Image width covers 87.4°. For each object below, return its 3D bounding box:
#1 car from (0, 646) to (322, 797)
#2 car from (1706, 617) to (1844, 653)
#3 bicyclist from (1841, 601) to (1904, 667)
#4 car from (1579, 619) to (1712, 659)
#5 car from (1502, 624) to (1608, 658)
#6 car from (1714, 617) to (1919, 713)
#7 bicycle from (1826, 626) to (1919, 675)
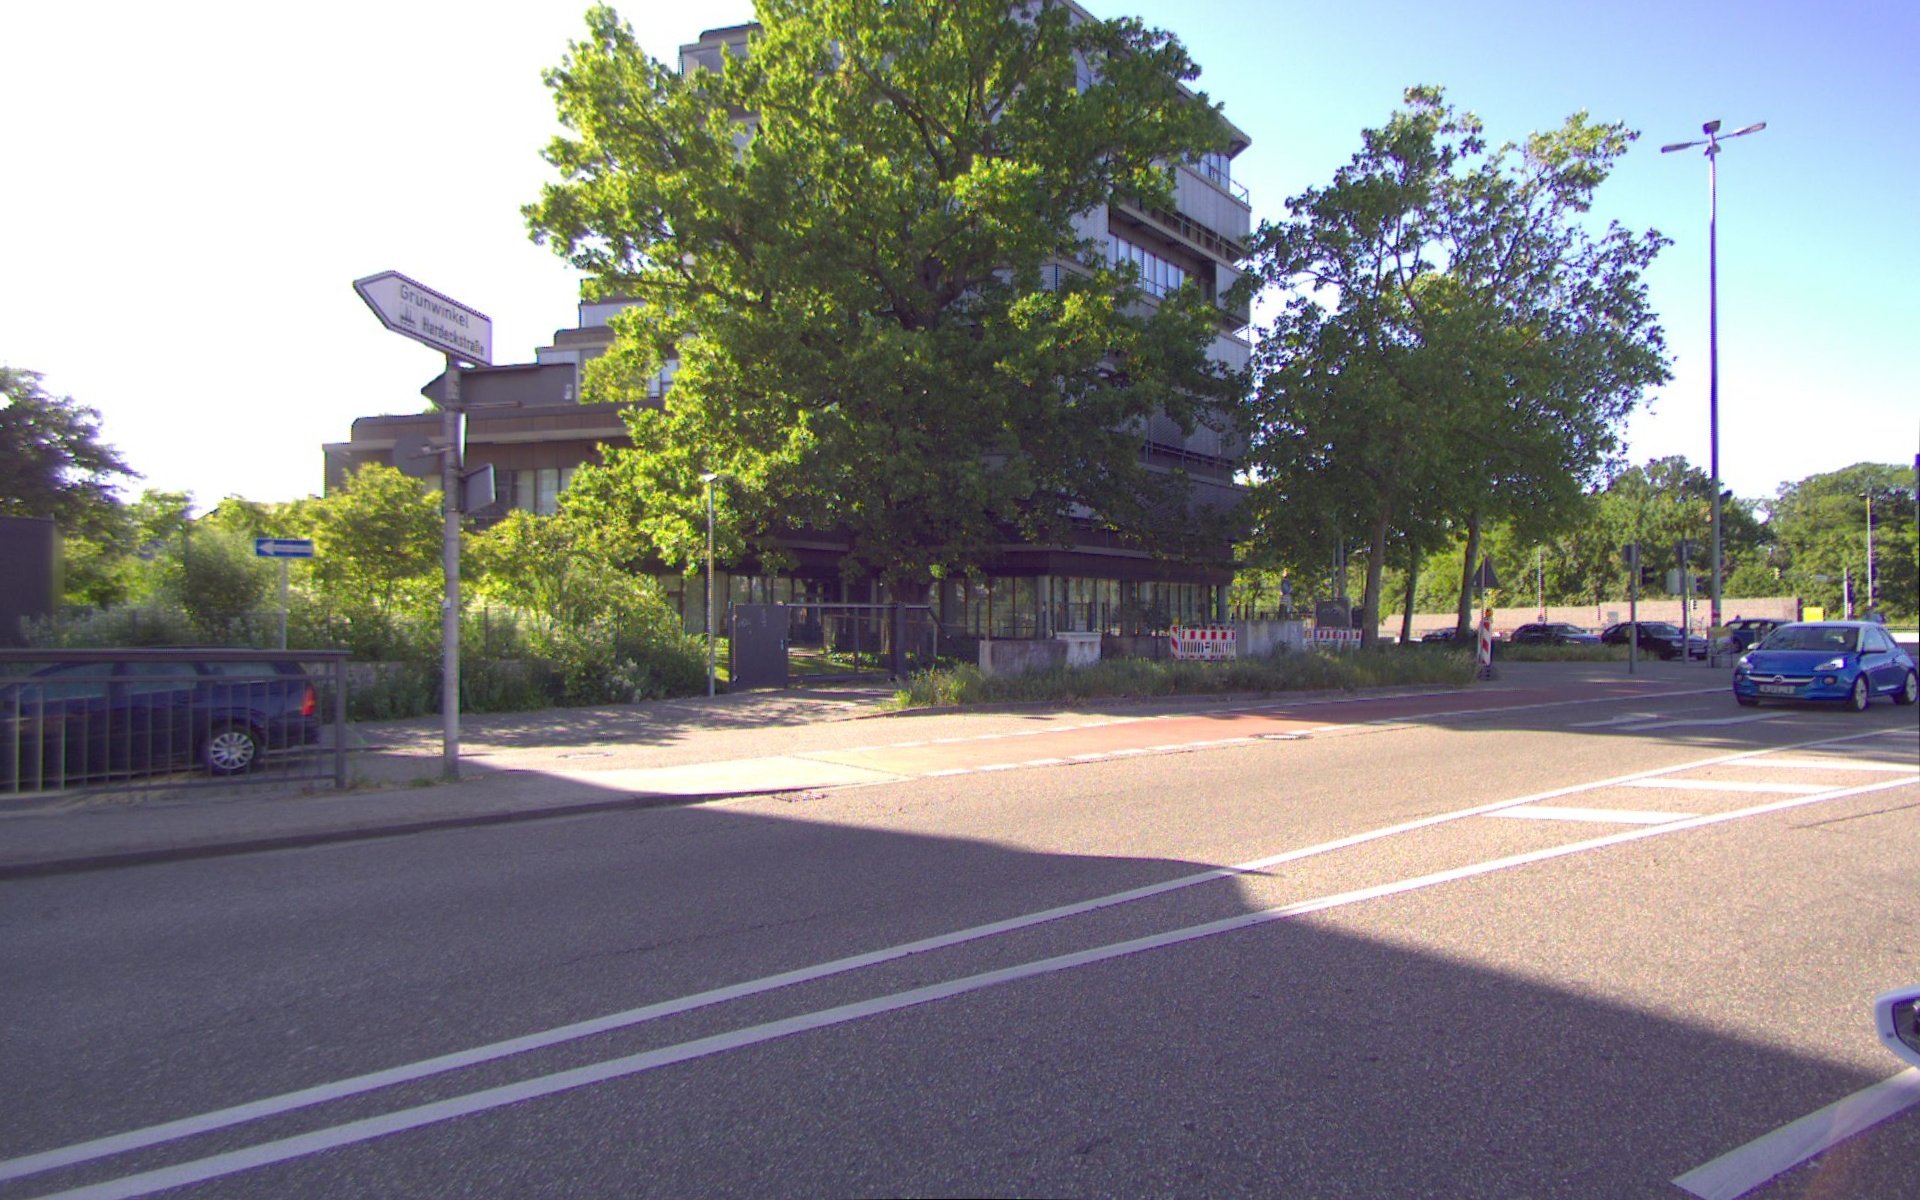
[{"bbox_3d":[-10.104,1.336,11.684,4.411,1.523,1.807,1,-2,-38],"label":"car"},{"bbox_3d":[35.157,1.485,43.479,1.795,1.457,4.439,0,-2,-14],"label":"car"},{"bbox_3d":[24.837,0.922,27.350,1.177,1.724,0.687,-2,-1,-13],"label":"bicyclist"},{"bbox_3d":[26.449,1.489,38.955,1.792,1.457,4.447,0,-2,-7],"label":"car"},{"bbox_3d":[26.791,1.815,45.434,1.792,1.457,4.447,0,-2,-7],"label":"car"},{"bbox_3d":[15.463,1.078,17.958,4.404,1.523,1.809,1,-2,-34],"label":"car"},{"bbox_3d":[24.846,1.350,27.343,2.287,1.218,0.687,-2,-1,-13],"label":"bicycle"}]
